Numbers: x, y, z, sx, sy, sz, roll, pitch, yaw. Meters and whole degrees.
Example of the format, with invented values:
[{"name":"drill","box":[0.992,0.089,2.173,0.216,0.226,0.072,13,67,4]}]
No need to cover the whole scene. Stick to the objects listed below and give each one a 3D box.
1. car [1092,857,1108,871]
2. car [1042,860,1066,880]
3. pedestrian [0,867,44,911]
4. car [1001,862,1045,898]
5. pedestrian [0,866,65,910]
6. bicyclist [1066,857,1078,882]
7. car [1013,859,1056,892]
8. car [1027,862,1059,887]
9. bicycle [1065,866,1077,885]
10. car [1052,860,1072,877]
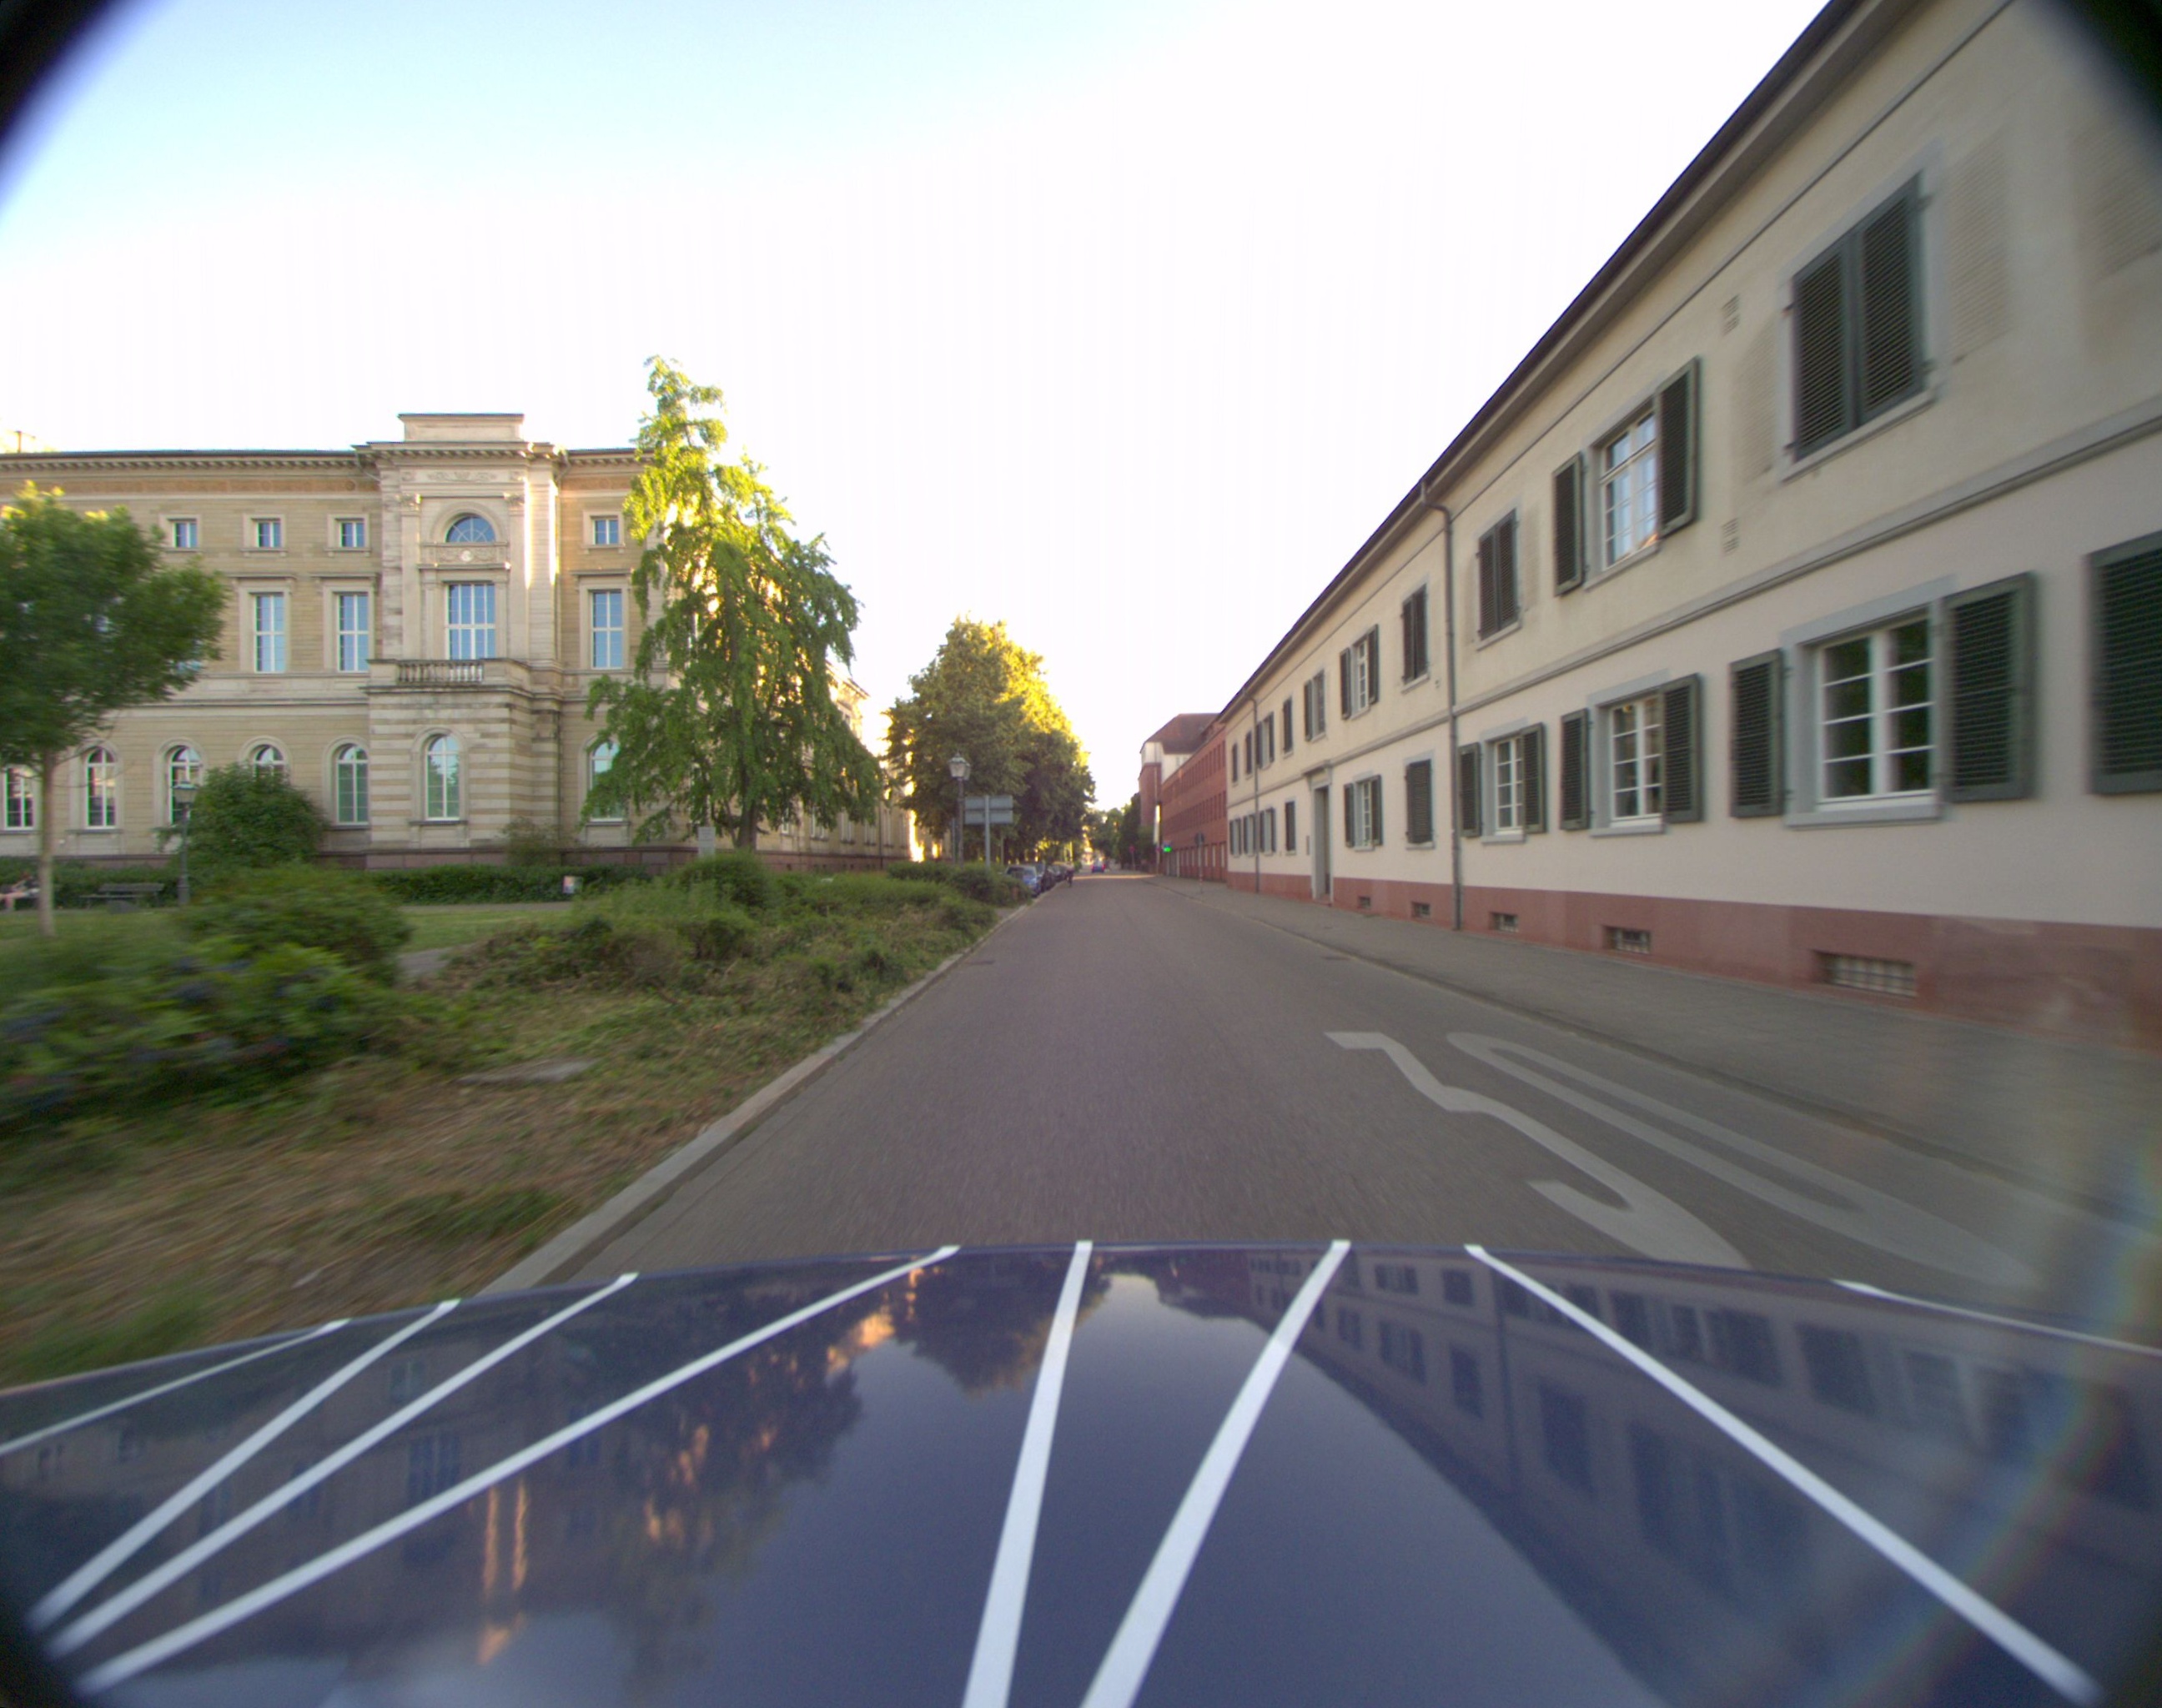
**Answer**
[{"name":"car","box":[2.946,1.558,117.411,1.999,1.863,5.109,-1,-2,-3]},{"name":"car","box":[-2.265,1.332,64.087,1.739,1.498,4.522,3,0,0]},{"name":"pedestrian","box":[-34.550,1.116,24.539,0.695,1.389,1.045,0,0,1]},{"name":"car","box":[-2.664,1.164,35.924,1.728,1.479,4.610,3,0,-1]},{"name":"pedestrian","box":[-33.669,1.083,24.387,0.695,1.389,1.045,0,0,1]},{"name":"bicyclist","box":[-0.612,1.012,49.875,0.753,1.603,1.038,0,0,-2]},{"name":"car","box":[-2.485,1.113,41.672,1.728,1.642,4.714,0,0,4]},{"name":"car","box":[-2.361,1.263,47.864,1.728,1.529,4.190,0,-1,0]},{"name":"bicycle","box":[-0.633,1.389,49.855,0.753,1.245,2.210,0,-1,-2]},{"name":"car","box":[-1.822,1.394,74.510,1.728,1.525,4.622,4,0,0]}]
